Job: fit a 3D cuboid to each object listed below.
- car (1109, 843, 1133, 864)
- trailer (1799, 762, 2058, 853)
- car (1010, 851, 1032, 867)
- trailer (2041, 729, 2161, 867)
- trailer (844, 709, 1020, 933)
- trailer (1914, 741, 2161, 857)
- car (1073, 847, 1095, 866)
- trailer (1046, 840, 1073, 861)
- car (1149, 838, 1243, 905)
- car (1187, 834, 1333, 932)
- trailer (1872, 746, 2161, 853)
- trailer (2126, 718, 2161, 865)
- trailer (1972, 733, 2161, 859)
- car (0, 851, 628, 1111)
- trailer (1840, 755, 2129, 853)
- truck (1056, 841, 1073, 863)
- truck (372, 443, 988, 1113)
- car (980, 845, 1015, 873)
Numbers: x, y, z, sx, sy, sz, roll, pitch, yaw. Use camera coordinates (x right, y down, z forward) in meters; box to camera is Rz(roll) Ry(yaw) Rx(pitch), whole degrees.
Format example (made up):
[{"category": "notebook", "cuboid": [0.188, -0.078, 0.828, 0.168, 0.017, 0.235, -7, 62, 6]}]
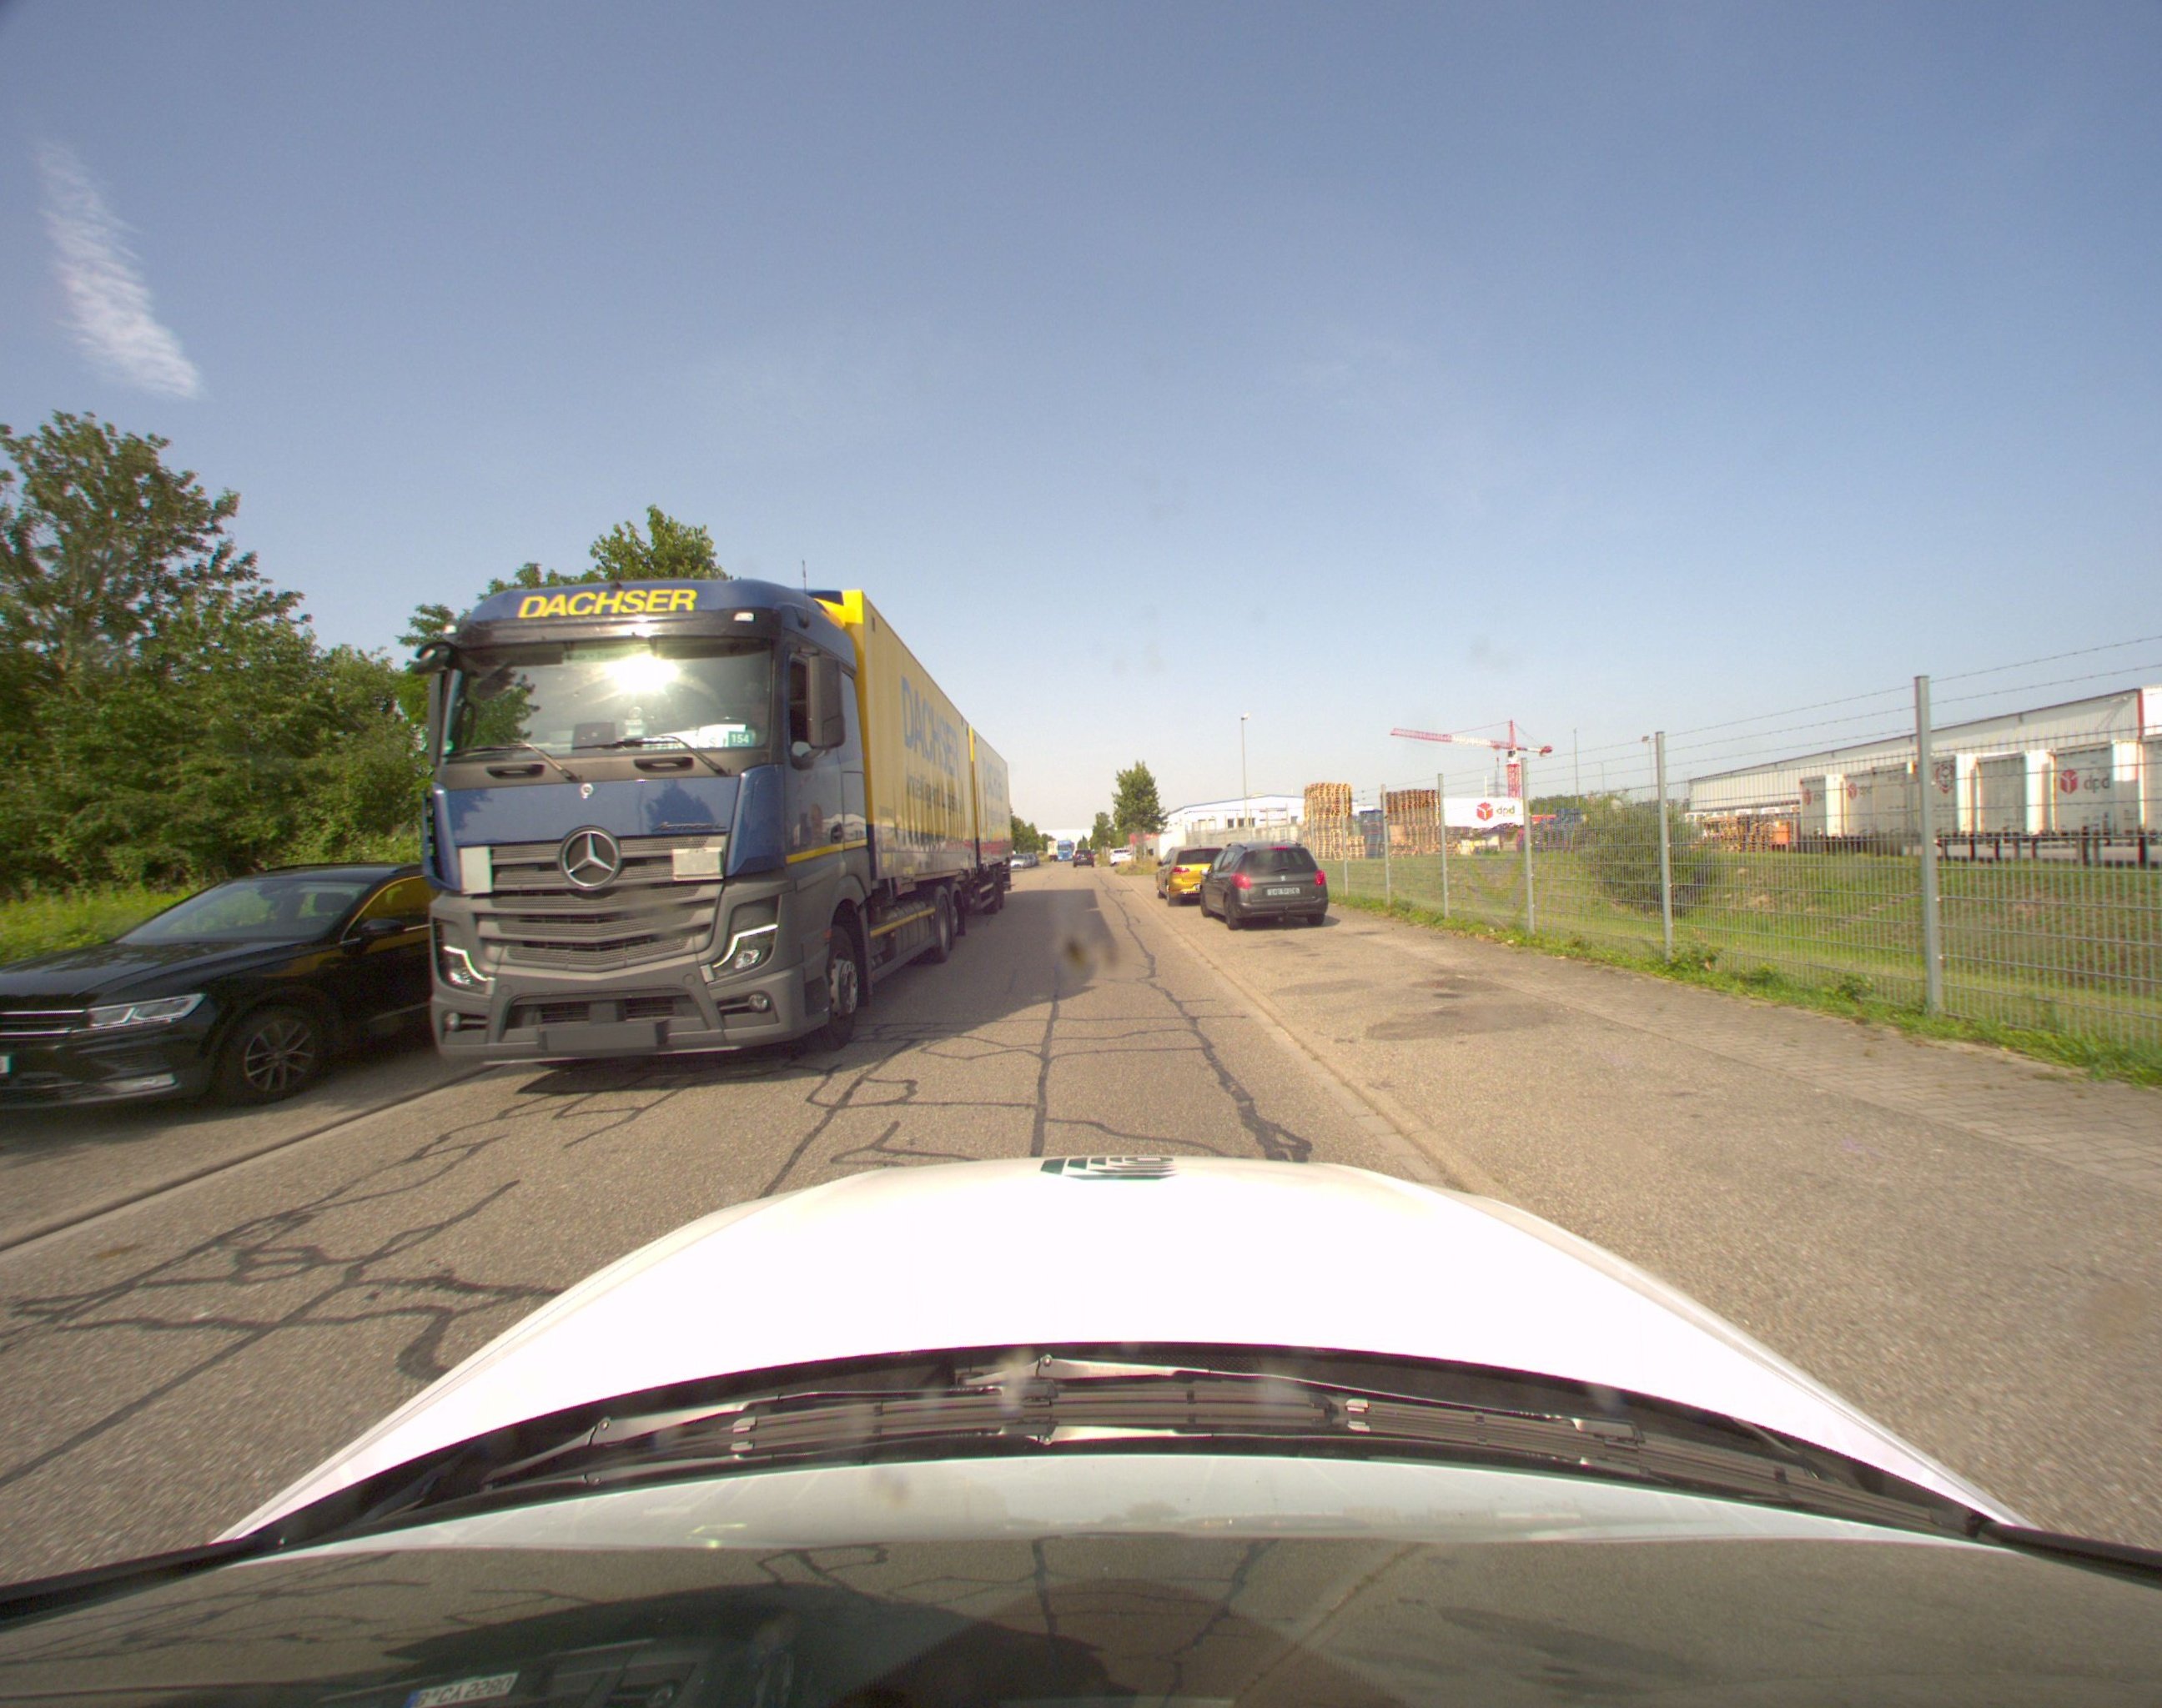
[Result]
[{"category": "car", "cuboid": [3.227, -0.056, 66.866, 1.710, 1.680, 3.948, -2, 0, -1]}, {"category": "trailer", "cuboid": [38.752, -2.053, 37.647, 7.898, 3.893, 2.756, 0, 2, 19]}, {"category": "car", "cuboid": [-5.809, 0.486, 79.103, 1.799, 1.496, 3.937, -2, 0, 1]}, {"category": "trailer", "cuboid": [33.850, -1.617, 23.314, 7.898, 3.893, 2.789, 0, 2, 19]}, {"category": "trailer", "cuboid": [-3.171, -0.662, 19.884, 2.490, 4.145, 8.495, -4, 0, 0]}, {"category": "trailer", "cuboid": [35.708, -1.899, 29.090, 7.898, 3.893, 2.789, 0, 2, 19]}, {"category": "car", "cuboid": [0.282, 0.226, 74.524, 1.873, 1.586, 4.115, -2, 0, 2]}, {"category": "trailer", "cuboid": [-4.072, -0.670, 152.684, 2.881, 3.760, 12.030, -2, 0, -12]}, {"category": "car", "cuboid": [2.876, 0.403, 21.214, 1.710, 1.455, 4.186, -4, 0, -1]}, {"category": "car", "cuboid": [3.234, 0.473, 15.495, 1.710, 1.515, 4.001, -4, 0, -2]}, {"category": "trailer", "cuboid": [36.726, -2.017, 31.806, 7.898, 3.893, 2.789, 0, 2, 19]}, {"category": "trailer", "cuboid": [32.176, -1.636, 19.907, 7.898, 3.893, 2.789, 0, 2, 19]}, {"category": "trailer", "cuboid": [34.905, -1.843, 26.306, 7.898, 3.893, 2.789, 0, 2, 19]}, {"category": "car", "cuboid": [-6.360, 0.803, 7.406, 1.896, 1.626, 4.450, 0, 0, 1]}, {"category": "trailer", "cuboid": [38.147, -2.025, 34.798, 7.898, 3.893, 2.756, 0, 2, 19]}, {"category": "truck", "cuboid": [-2.870, -0.431, 144.259, 2.871, 3.760, 6.080, -2, 0, -2]}, {"category": "truck", "cuboid": [-3.153, -0.529, 10.402, 2.490, 4.145, 10.377, -4, 0, 0]}, {"category": "car", "cuboid": [-5.542, 0.299, 54.299, 1.826, 1.762, 4.050, 0, 0, 1]}]
